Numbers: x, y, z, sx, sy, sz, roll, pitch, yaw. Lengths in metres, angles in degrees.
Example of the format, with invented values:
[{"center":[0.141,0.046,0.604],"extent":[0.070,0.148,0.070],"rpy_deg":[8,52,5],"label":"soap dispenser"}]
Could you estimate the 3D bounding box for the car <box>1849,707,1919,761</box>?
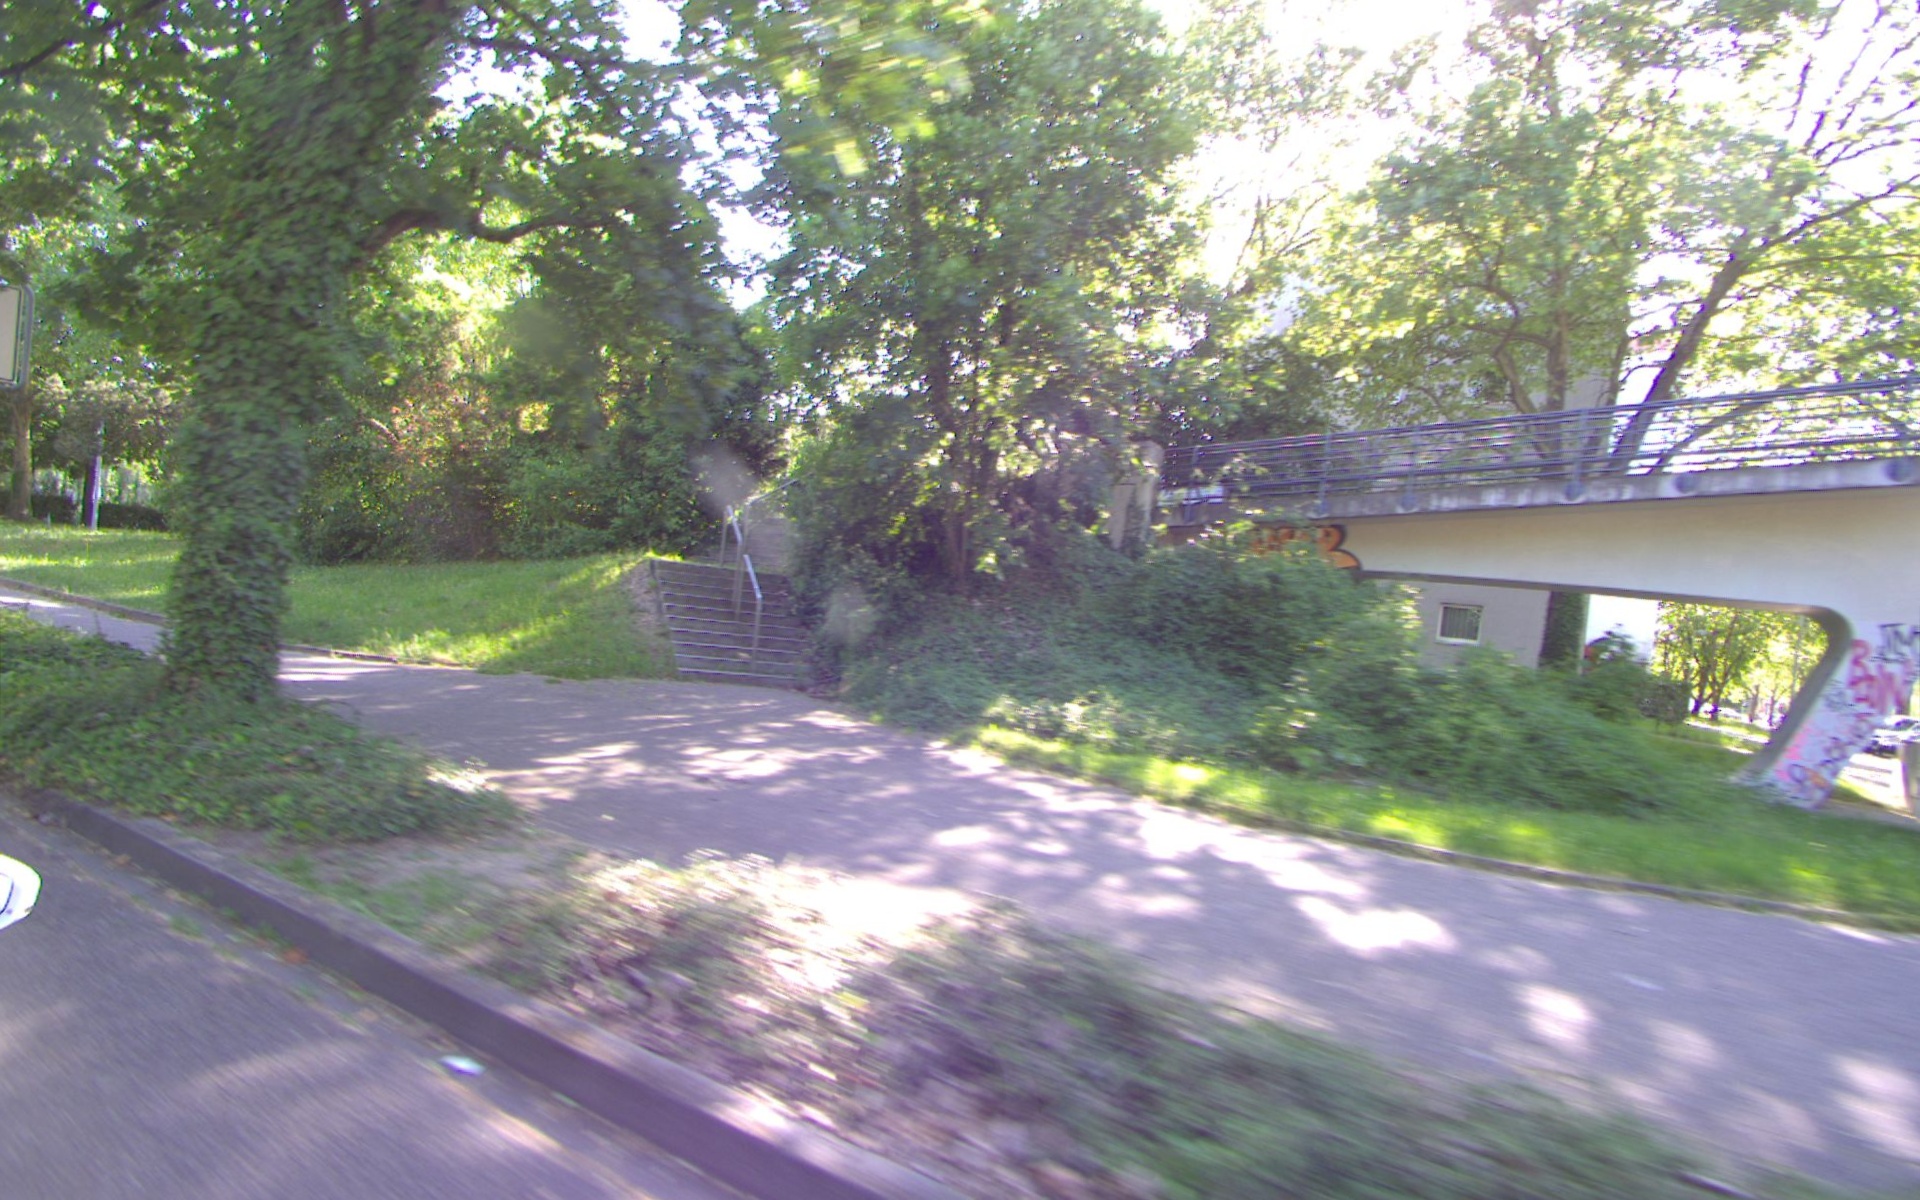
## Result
[{"center":[45.324,6.513,47.626],"extent":[4.509,2.078,2.015],"rpy_deg":[8,1,-4],"label":"car"}]
